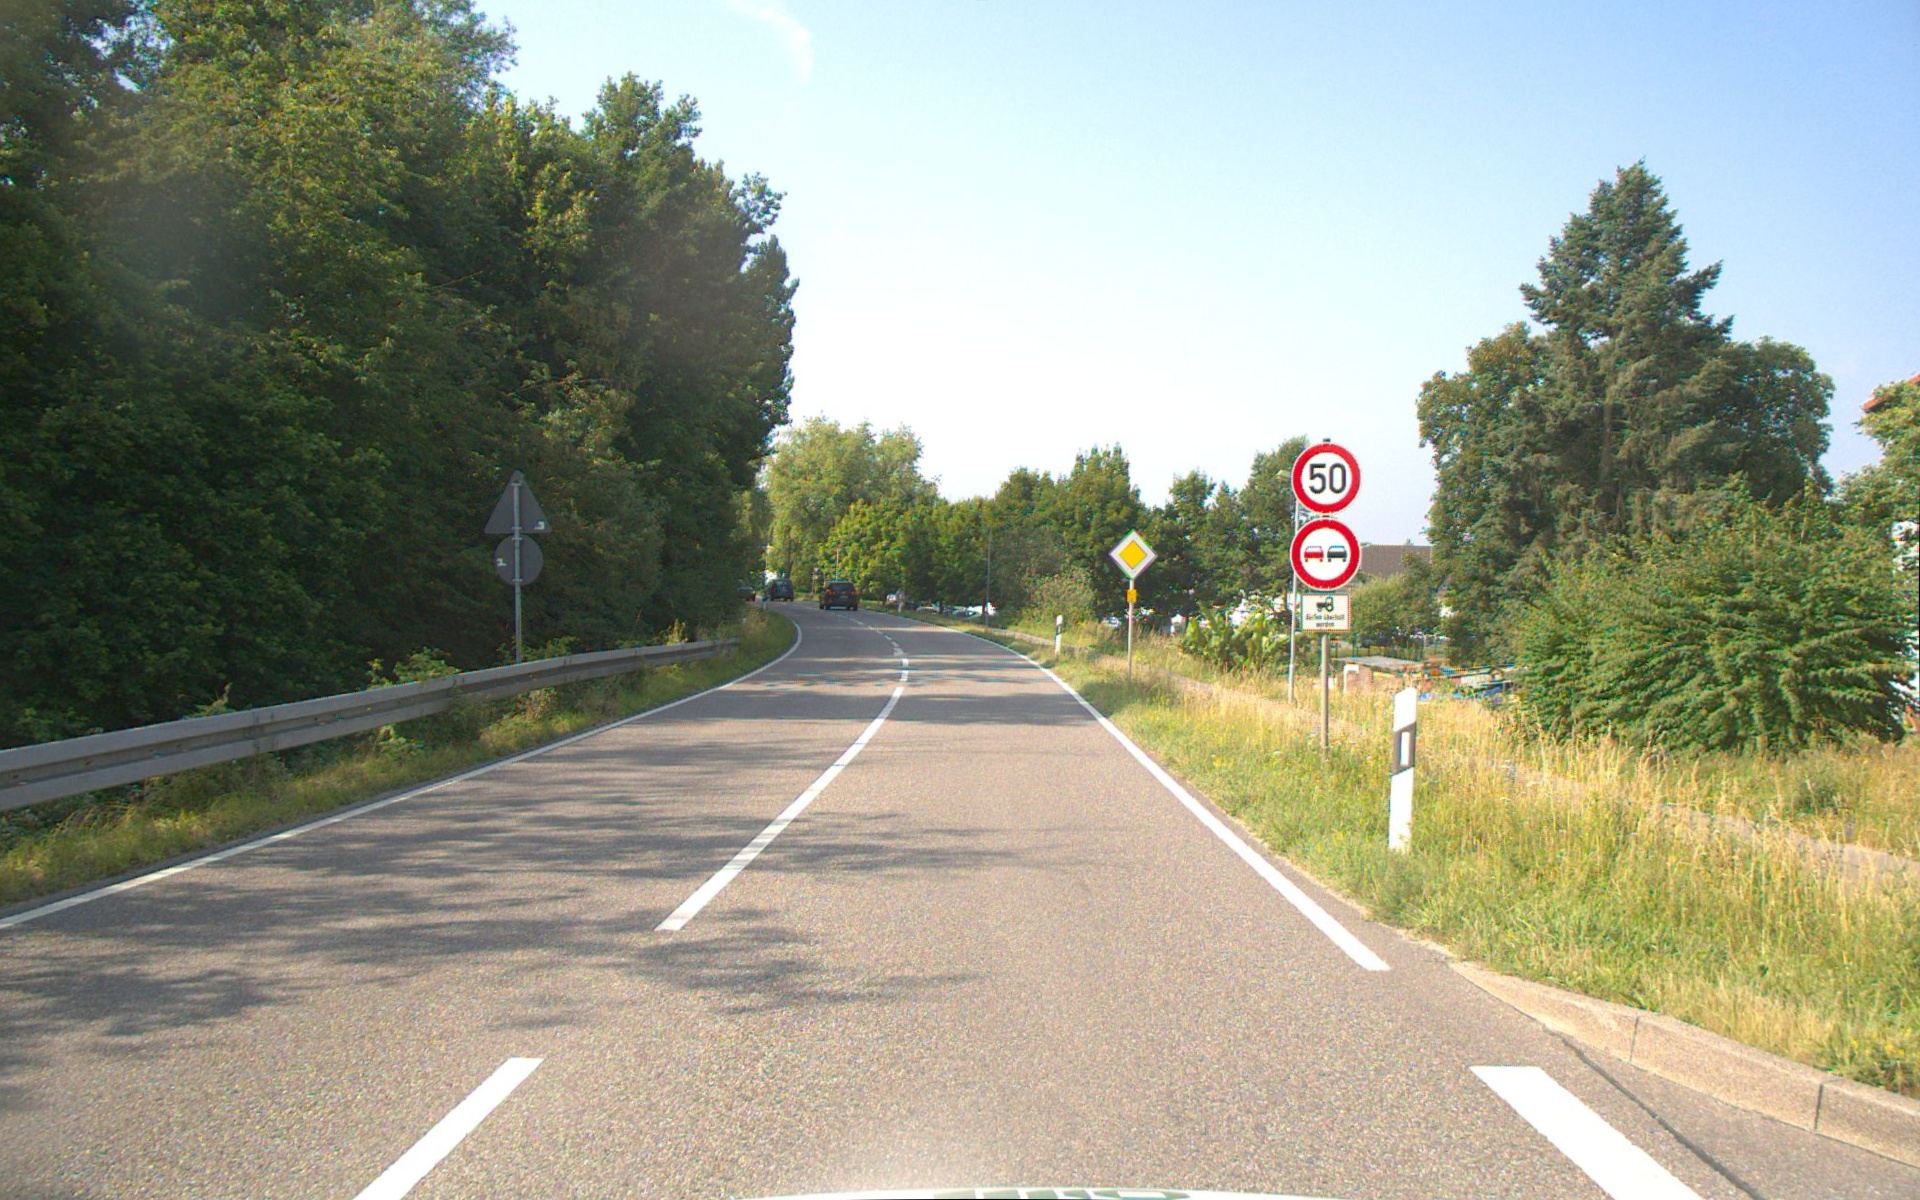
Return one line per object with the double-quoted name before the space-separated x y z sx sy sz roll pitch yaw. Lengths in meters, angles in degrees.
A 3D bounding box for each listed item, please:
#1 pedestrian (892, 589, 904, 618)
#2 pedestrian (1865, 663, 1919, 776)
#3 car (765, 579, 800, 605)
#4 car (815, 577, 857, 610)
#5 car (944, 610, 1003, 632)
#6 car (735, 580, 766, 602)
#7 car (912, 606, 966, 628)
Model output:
"pedestrian" -4.002 0.221 106.753 0.738 1.806 0.972 2 0 0
"pedestrian" 13.966 1.791 24.599 0.446 1.645 0.691 2 -6 -15
"car" -13.227 -0.607 123.138 1.970 1.801 3.986 2 1 -14
"car" -7.341 -0.386 97.541 1.892 1.801 3.988 2 1 -12
"car" 1.019 1.581 124.193 4.181 1.497 1.841 2 0 -7
"car" -15.505 -0.672 122.255 1.721 1.499 3.986 2 1 -14
"car" -1.751 1.387 135.123 4.158 1.709 1.886 2 0 -11
